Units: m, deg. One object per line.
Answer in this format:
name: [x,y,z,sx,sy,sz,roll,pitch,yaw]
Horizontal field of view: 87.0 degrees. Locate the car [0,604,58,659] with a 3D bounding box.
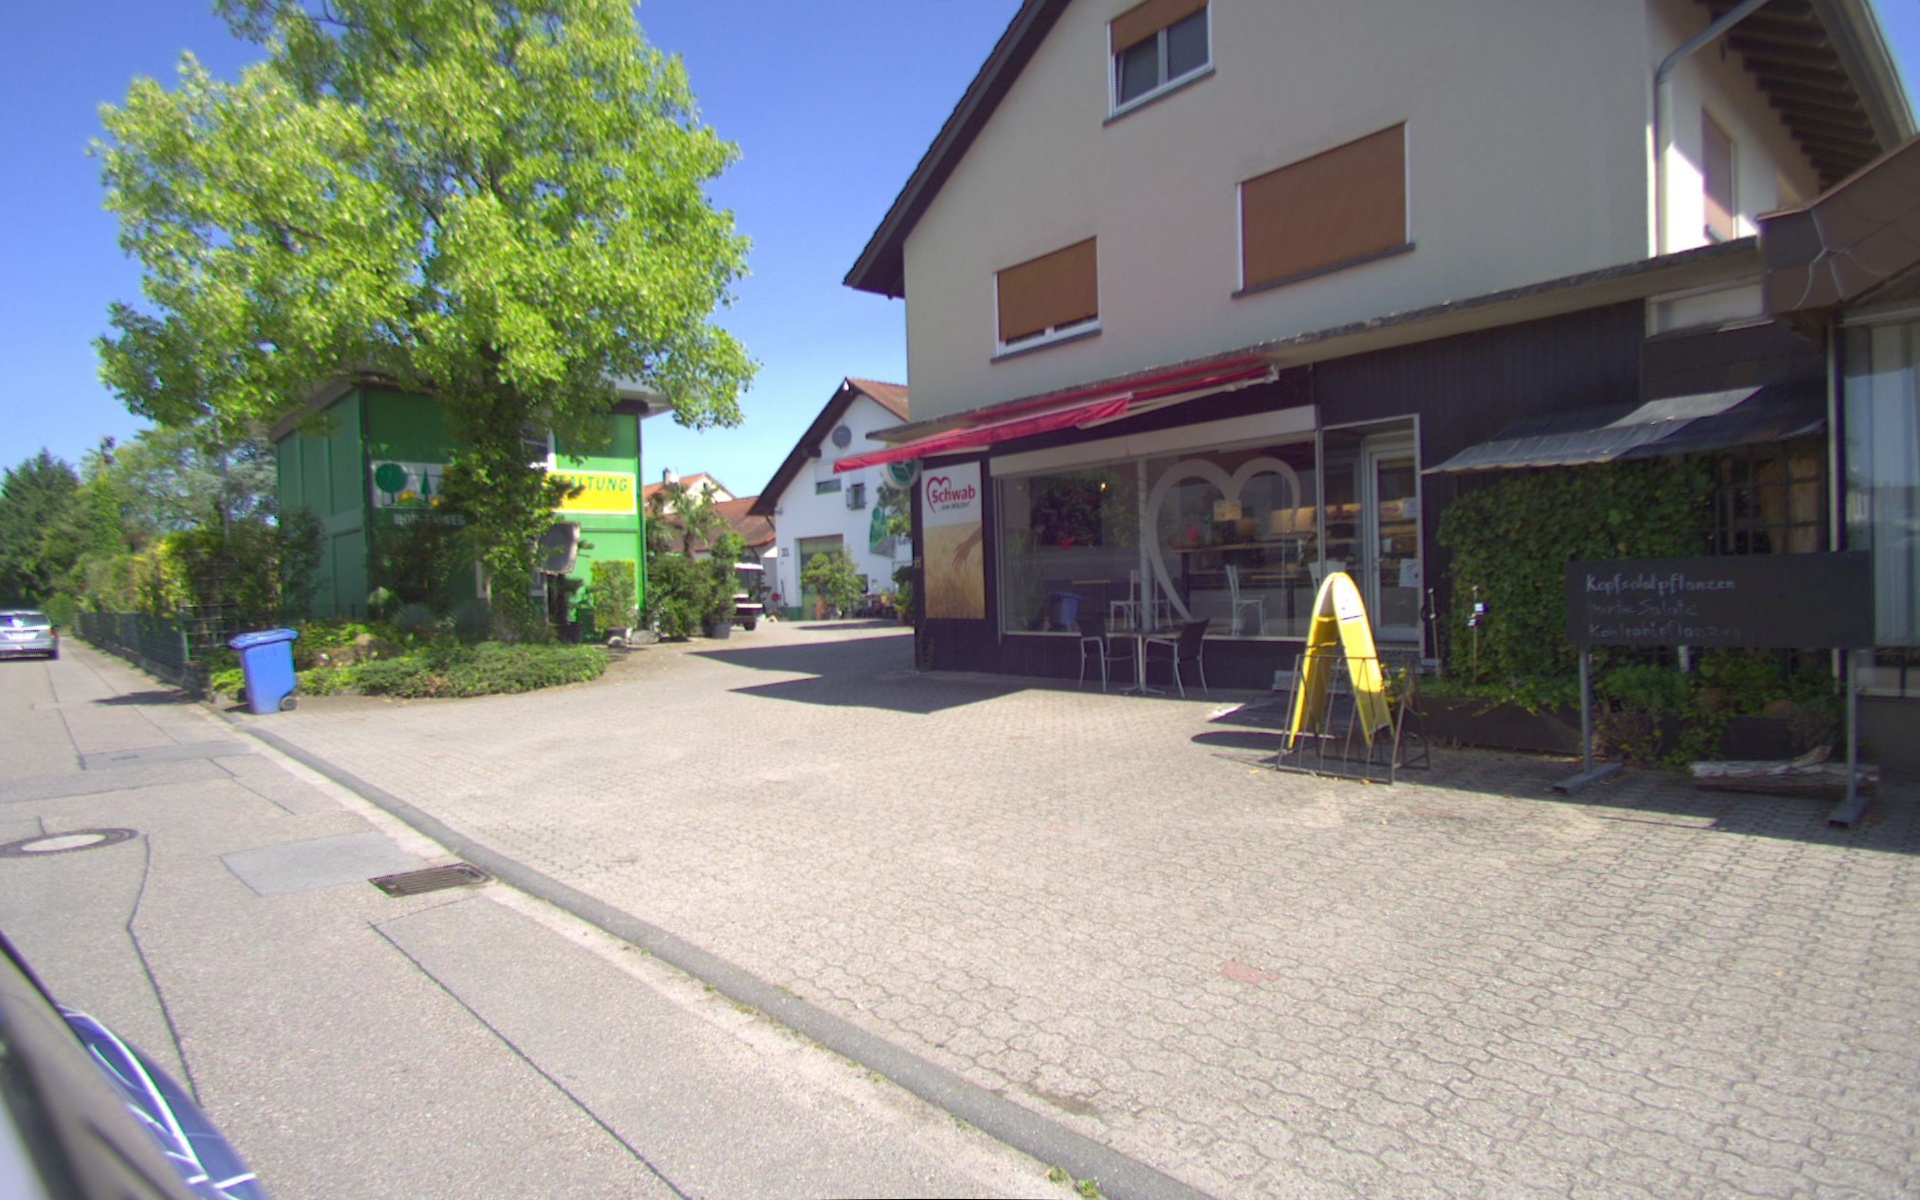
car: [-28.766,0.954,30.866,1.732,1.498,4.380,-4,2,-43]

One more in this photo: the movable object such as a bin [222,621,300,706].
movable object such as a bin: [-9.451,0.840,13.681,0.722,1.062,0.613,-5,2,-43]

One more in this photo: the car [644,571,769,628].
car: [-7.521,-0.035,29.829,1.835,1.458,4.004,-6,4,-42]
